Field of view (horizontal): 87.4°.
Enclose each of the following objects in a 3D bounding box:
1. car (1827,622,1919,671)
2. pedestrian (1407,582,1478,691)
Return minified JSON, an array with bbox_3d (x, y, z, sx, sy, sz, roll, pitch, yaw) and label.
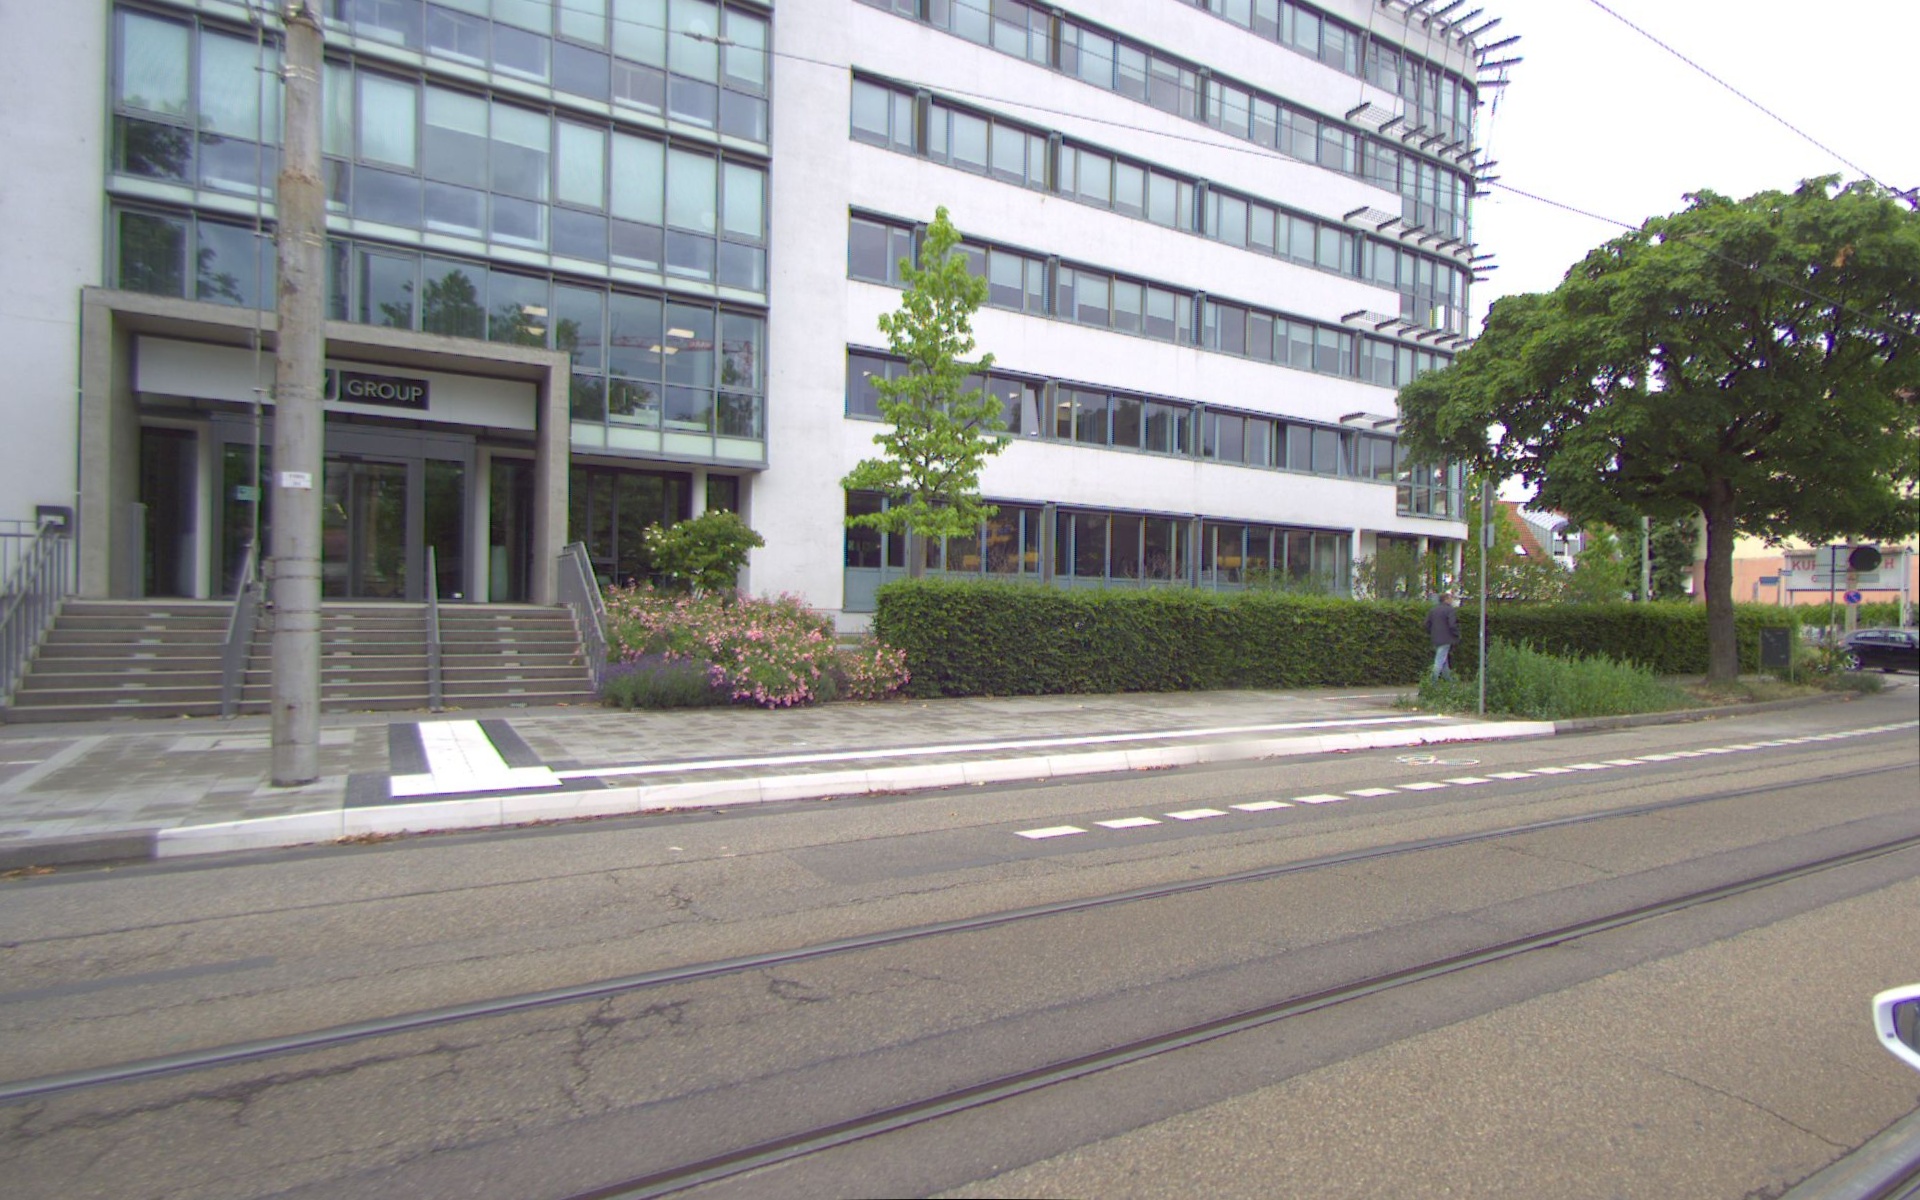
[{"bbox_3d":[29.731,1.453,31.263,1.769,1.406,3.926,1,0,-9],"label":"car"},{"bbox_3d":[9.354,0.702,19.481,0.977,2.040,0.708,2,1,-23],"label":"pedestrian"}]
